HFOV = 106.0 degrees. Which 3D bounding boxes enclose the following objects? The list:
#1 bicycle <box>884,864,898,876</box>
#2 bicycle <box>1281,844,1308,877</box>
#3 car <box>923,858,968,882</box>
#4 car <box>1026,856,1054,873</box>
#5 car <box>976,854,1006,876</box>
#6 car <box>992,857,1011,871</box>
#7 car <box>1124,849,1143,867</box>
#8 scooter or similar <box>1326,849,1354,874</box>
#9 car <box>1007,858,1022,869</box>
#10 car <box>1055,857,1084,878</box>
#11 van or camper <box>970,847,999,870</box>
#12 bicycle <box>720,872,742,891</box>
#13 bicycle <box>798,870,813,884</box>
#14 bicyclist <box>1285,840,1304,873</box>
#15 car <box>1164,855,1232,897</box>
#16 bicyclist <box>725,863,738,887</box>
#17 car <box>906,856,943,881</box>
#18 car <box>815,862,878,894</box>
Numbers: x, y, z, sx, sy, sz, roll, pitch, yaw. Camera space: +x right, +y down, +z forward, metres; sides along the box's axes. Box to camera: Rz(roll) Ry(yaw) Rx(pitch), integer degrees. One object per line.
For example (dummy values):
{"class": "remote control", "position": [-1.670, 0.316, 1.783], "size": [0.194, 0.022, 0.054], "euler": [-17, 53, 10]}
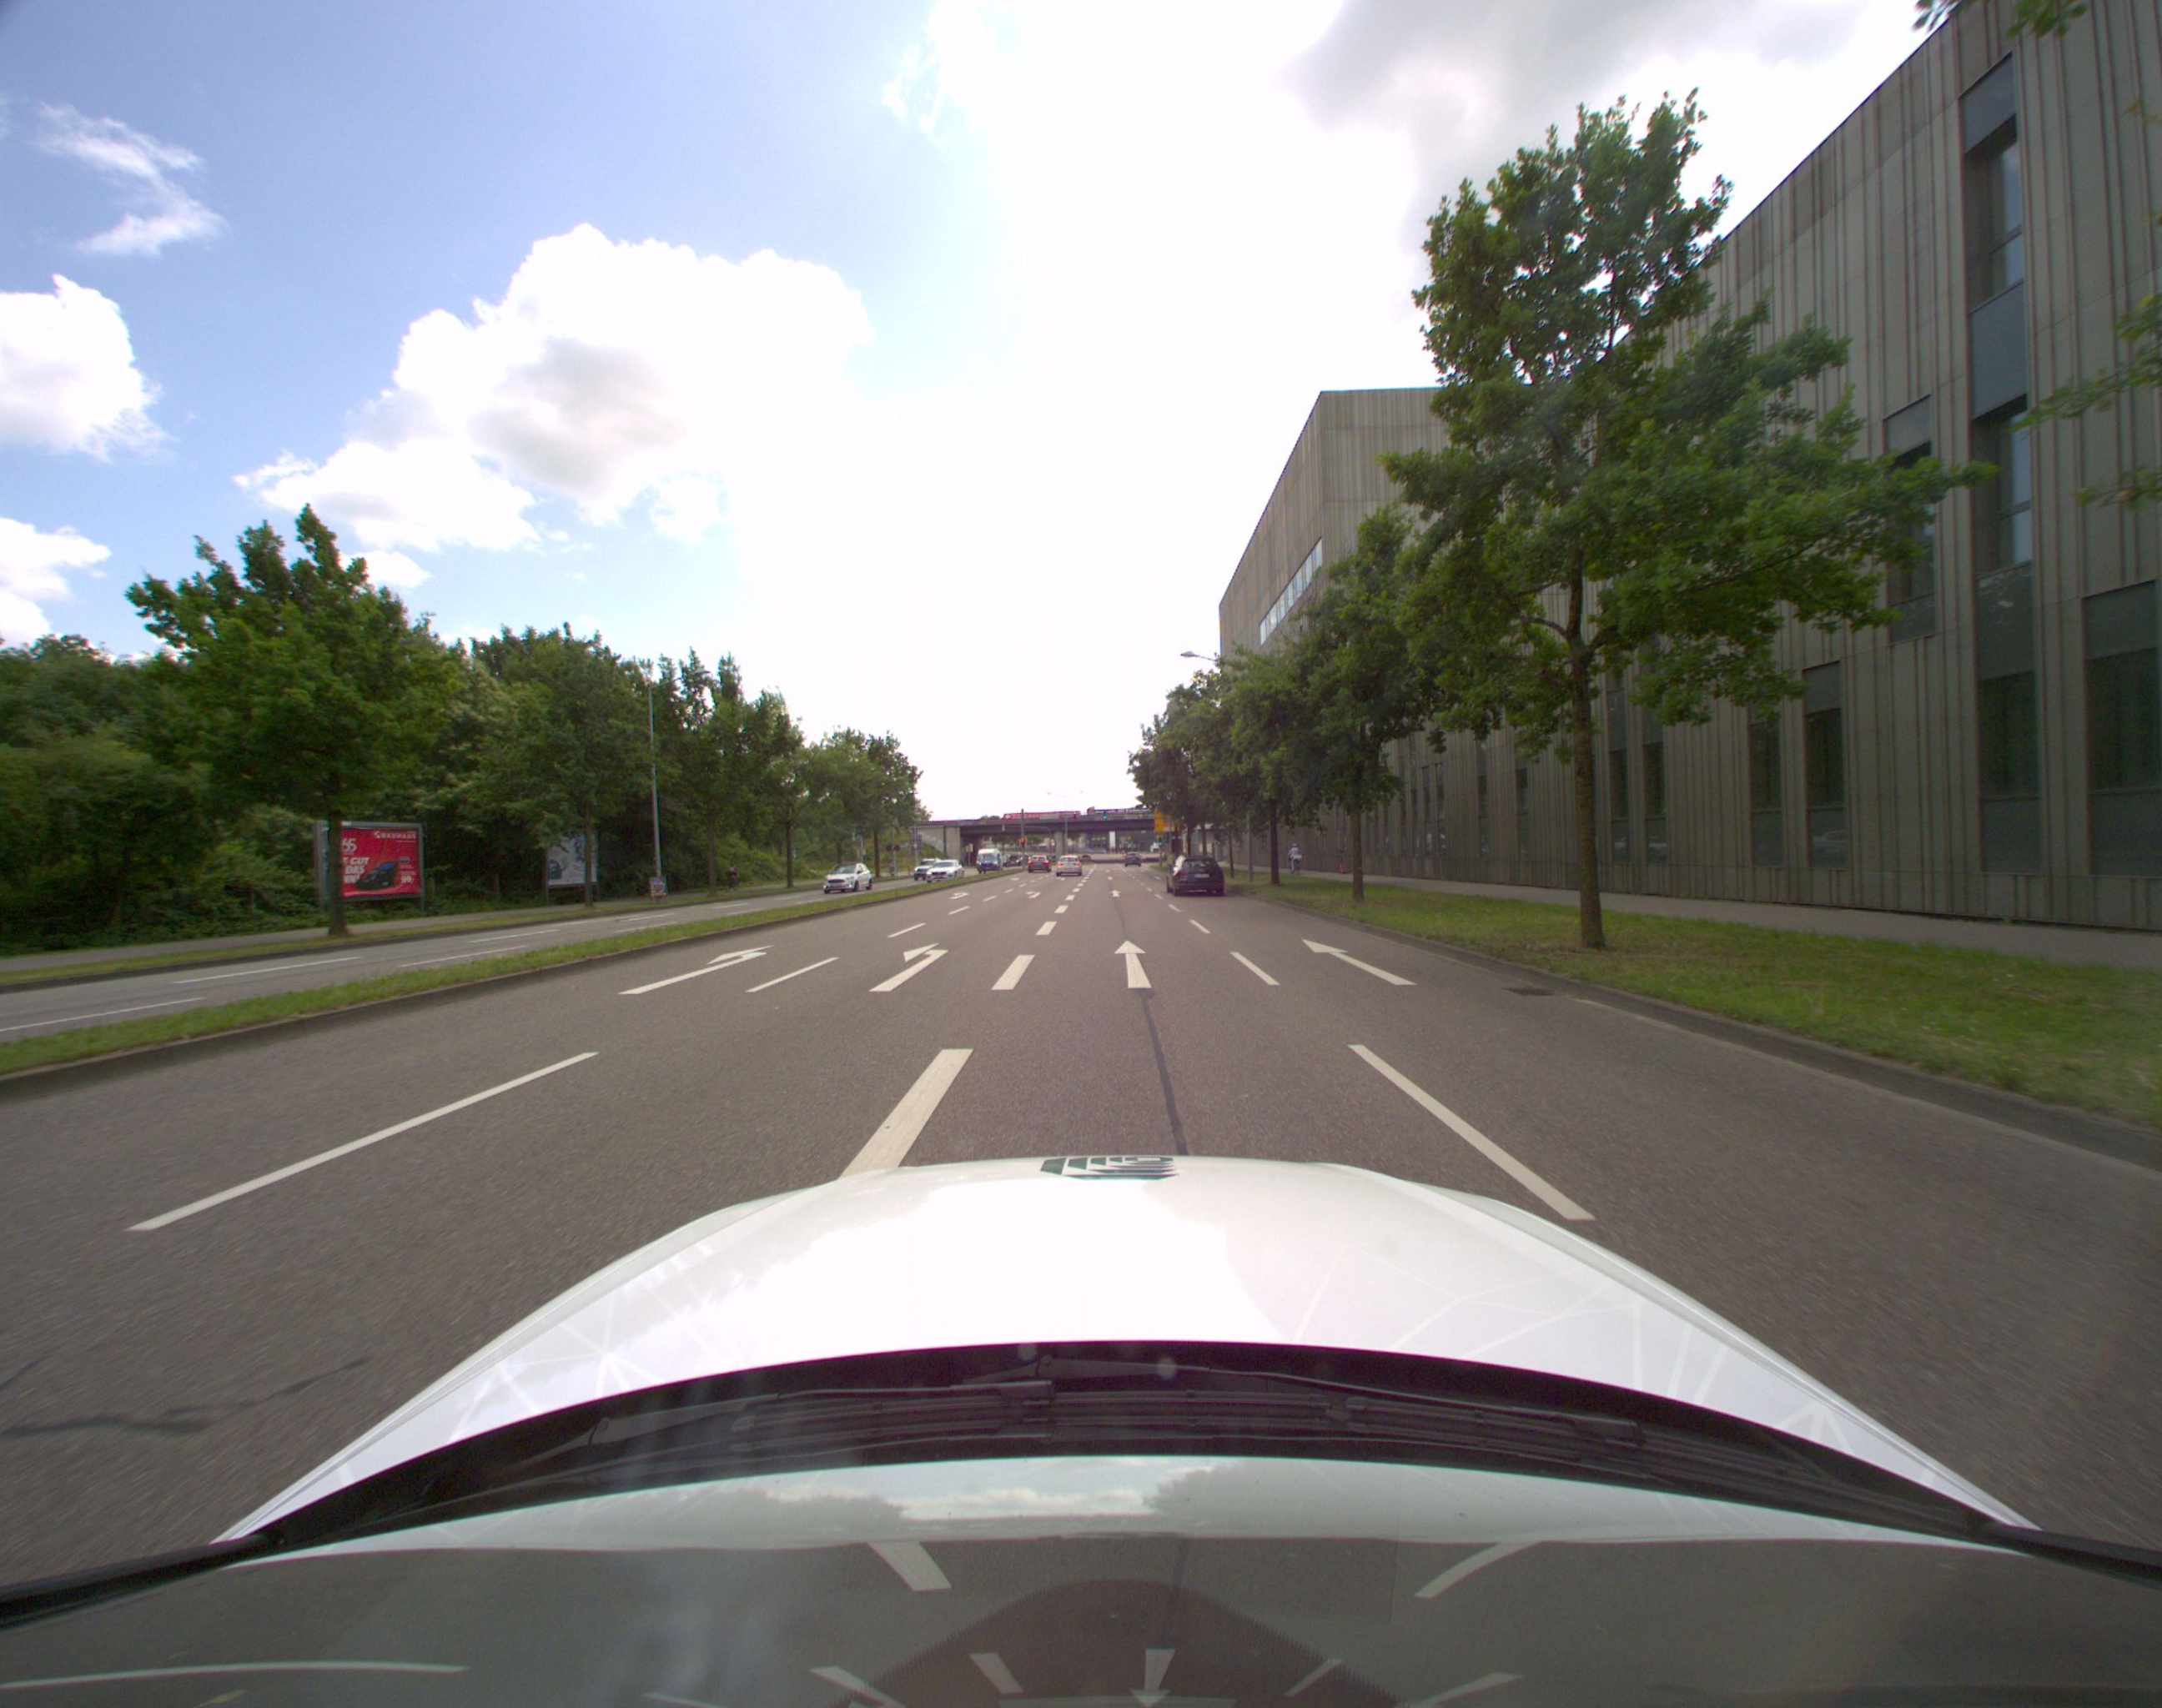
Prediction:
{"class": "bicycle", "position": [-20.398, 1.696, 87.450], "size": [0.818, 1.270, 2.395], "euler": [0, 0, 3]}
{"class": "bicycle", "position": [11.954, 0.344, 45.699], "size": [0.718, 1.774, 2.531], "euler": [-2, 0, -2]}
{"class": "car", "position": [-9.044, 1.043, 54.715], "size": [1.986, 1.431, 5.026], "euler": [-2, 0, 2]}
{"class": "car", "position": [-3.507, 0.896, 69.906], "size": [1.986, 1.415, 4.834], "euler": [0, 0, 1]}
{"class": "car", "position": [-8.644, 0.991, 78.856], "size": [2.183, 1.964, 5.193], "euler": [-2, 0, 0]}
{"class": "car", "position": [-10.832, 1.381, 111.184], "size": [1.987, 1.766, 4.220], "euler": [-2, 0, 1]}
{"class": "car", "position": [6.094, 0.466, 94.498], "size": [1.986, 2.037, 4.715], "euler": [-2, 0, 2]}
{"class": "scooter or similar", "position": [13.524, 0.363, 42.648], "size": [0.702, 1.246, 2.481], "euler": [-3, 0, 2]}
{"class": "car", "position": [-10.001, 1.401, 122.558], "size": [1.799, 1.632, 4.394], "euler": [-2, 0, 1]}
{"class": "car", "position": [-0.776, 0.918, 58.470], "size": [1.908, 1.415, 4.297], "euler": [1, 0, 1]}
{"class": "van or camper", "position": [-11.013, 0.521, 93.488], "size": [2.344, 2.540, 7.064], "euler": [-1, 0, 1]}
{"class": "bicycle", "position": [-21.264, 1.678, 49.492], "size": [0.507, 1.106, 1.845], "euler": [0, 0, 1]}
{"class": "bicycle", "position": [-21.435, 1.757, 63.320], "size": [0.546, 1.051, 1.836], "euler": [-2, 0, -2]}
{"class": "bicyclist", "position": [11.949, 0.143, 45.581], "size": [0.713, 1.769, 0.988], "euler": [-2, 0, -2]}
{"class": "car", "position": [4.267, 0.757, 30.261], "size": [1.986, 1.390, 4.577], "euler": [0, 1, 1]}
{"class": "bicyclist", "position": [-21.276, 1.266, 49.553], "size": [0.492, 1.464, 0.713], "euler": [0, -1, -2]}
{"class": "car", "position": [-12.350, 1.130, 64.476], "size": [1.987, 1.801, 4.409], "euler": [-2, 0, 0]}
{"class": "car", "position": [-12.374, 1.215, 43.242], "size": [1.908, 1.443, 4.415], "euler": [-4, 0, 1]}
